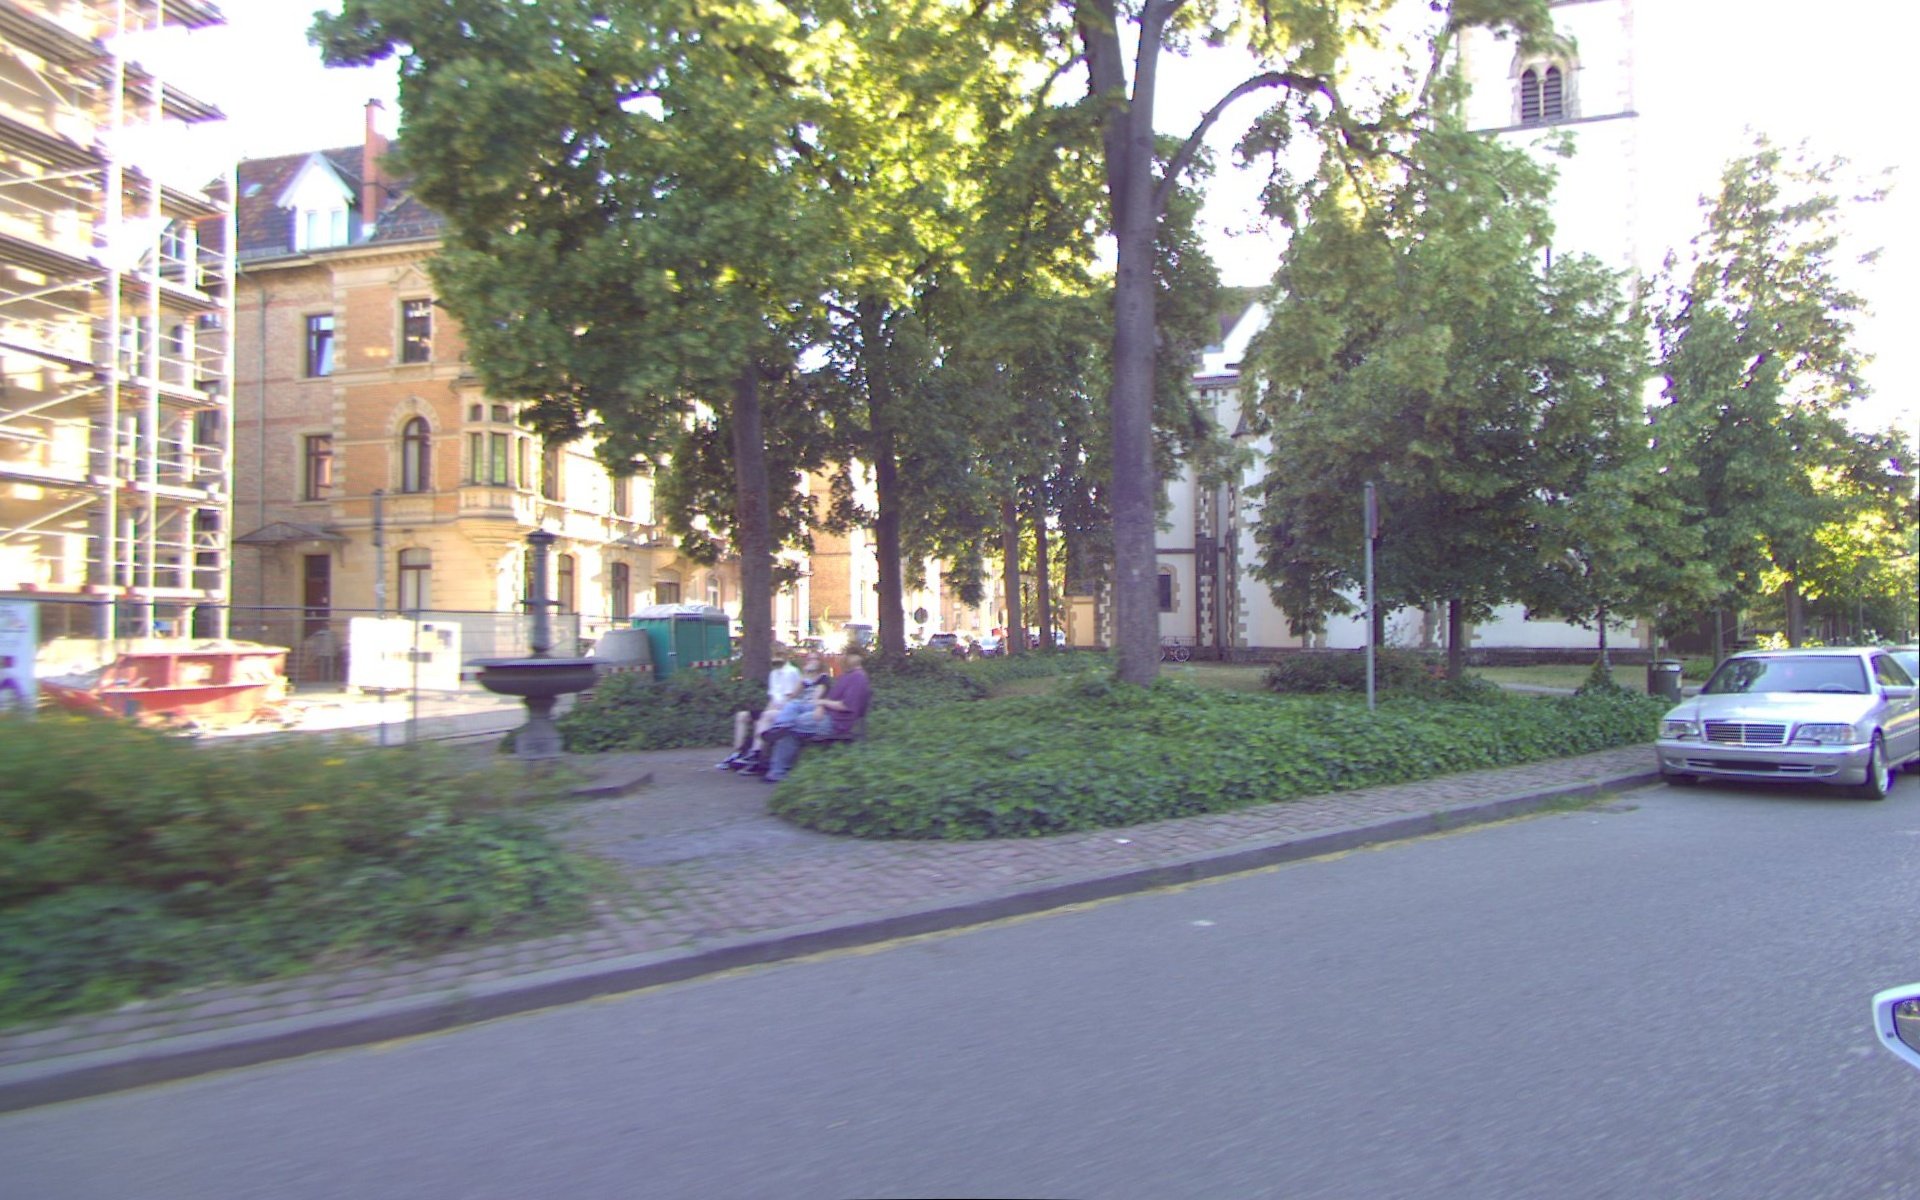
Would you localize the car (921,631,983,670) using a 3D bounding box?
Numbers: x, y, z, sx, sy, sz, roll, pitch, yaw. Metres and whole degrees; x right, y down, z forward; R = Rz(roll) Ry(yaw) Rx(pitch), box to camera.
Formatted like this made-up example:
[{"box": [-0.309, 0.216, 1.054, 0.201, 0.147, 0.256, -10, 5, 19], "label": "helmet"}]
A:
[{"box": [-0.310, 2.265, 45.424, 1.853, 1.677, 4.223, -1, -2, 13], "label": "car"}]

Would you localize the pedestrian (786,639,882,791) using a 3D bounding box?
[{"box": [-1.155, 1.020, 9.170, 0.755, 1.315, 0.550, 0, -2, -23], "label": "pedestrian"}]

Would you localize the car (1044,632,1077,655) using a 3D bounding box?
[{"box": [7.507, 3.224, 74.656, 1.853, 1.677, 4.223, -1, -2, 13], "label": "car"}]

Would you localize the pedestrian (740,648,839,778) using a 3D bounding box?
[{"box": [-1.690, 1.087, 9.931, 0.871, 1.211, 0.550, 0, -2, -23], "label": "pedestrian"}]

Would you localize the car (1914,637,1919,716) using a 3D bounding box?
[{"box": [19.657, 1.421, 19.204, 3.576, 1.459, 1.599, 1, -4, -40], "label": "car"}]

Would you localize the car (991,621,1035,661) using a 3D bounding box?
[{"box": [3.143, 2.417, 59.069, 1.853, 2.291, 4.223, -1, -2, 13], "label": "car"}]

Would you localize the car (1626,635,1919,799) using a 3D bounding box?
[{"box": [9.210, 1.142, 10.995, 4.456, 1.434, 1.767, 1, -4, -37], "label": "car"}]

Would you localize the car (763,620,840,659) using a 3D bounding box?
[{"box": [-9.411, 2.372, 59.816, 4.135, 2.291, 1.893, -1, -2, 13], "label": "car"}]

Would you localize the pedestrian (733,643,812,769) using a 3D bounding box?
[{"box": [-1.958, 1.078, 10.449, 0.714, 1.249, 0.550, 0, -2, -23], "label": "pedestrian"}]

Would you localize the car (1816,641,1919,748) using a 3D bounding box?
[{"box": [14.649, 1.346, 15.201, 4.458, 1.434, 1.810, 1, -4, -40], "label": "car"}]

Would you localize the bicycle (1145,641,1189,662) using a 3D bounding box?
[{"box": [9.006, 2.237, 43.713, 1.846, 0.930, 0.423, 0, -1, 17], "label": "bicycle"}]

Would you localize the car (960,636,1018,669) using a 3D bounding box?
[{"box": [1.603, 2.756, 53.135, 1.854, 1.677, 4.221, -1, -2, 20], "label": "car"}]

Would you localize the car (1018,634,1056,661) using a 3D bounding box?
[{"box": [5.028, 3.049, 65.093, 1.853, 1.677, 4.223, -1, -2, 13], "label": "car"}]

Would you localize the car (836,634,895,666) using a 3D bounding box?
[{"box": [-5.092, 2.674, 54.695, 1.960, 1.677, 4.223, 0, -2, 14], "label": "car"}]

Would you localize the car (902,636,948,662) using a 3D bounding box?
[{"box": [-2.290, 3.196, 66.133, 1.960, 1.677, 4.223, 0, -2, 14], "label": "car"}]
